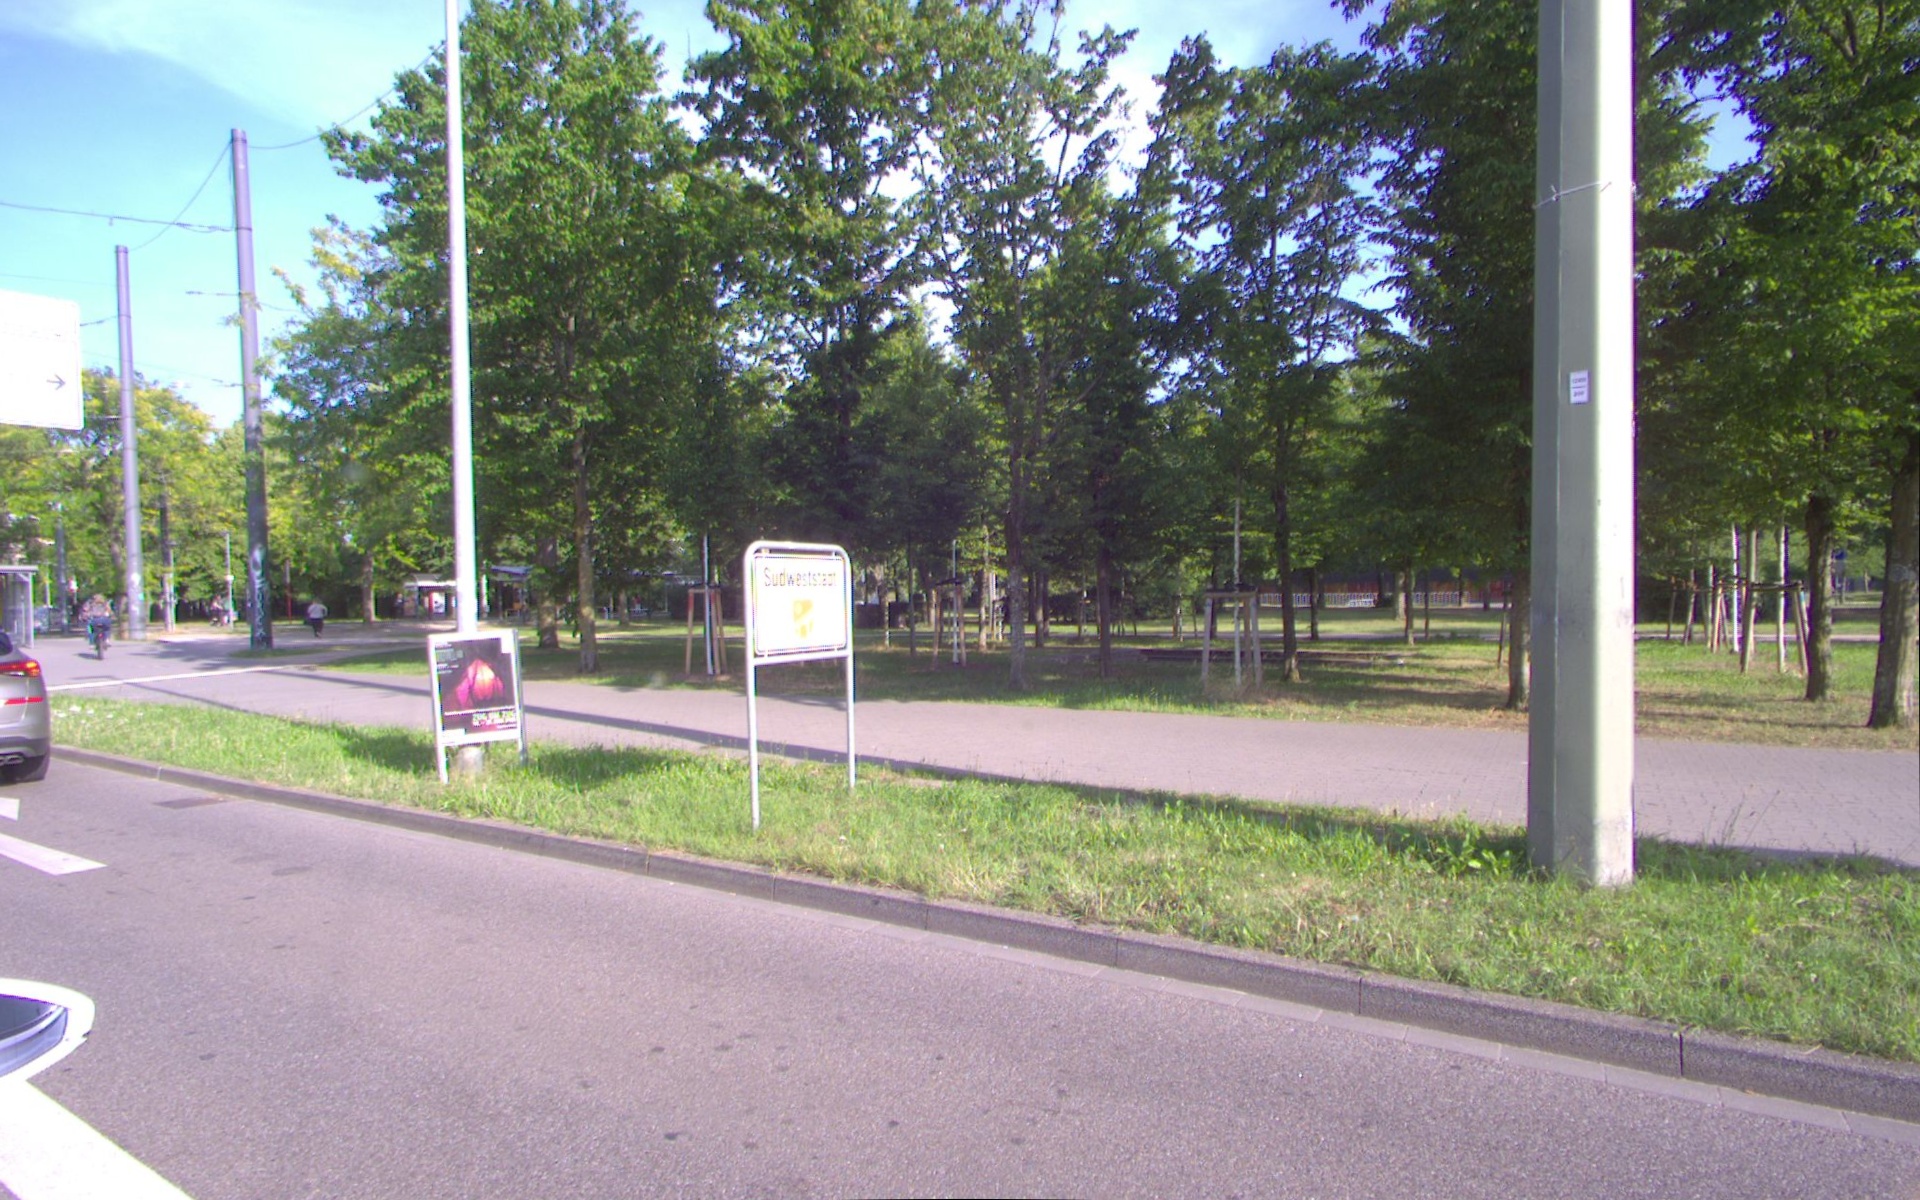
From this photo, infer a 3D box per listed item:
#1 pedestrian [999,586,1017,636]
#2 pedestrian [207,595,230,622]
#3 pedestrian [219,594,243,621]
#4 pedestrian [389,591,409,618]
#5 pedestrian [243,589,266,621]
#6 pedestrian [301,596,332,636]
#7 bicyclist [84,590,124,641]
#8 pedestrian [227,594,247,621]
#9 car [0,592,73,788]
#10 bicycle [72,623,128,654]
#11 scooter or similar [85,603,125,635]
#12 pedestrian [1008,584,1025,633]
[{"bbox_3d":[1.751,0.398,36.767,0.617,1.836,0.502,-1,1,6],"label":"pedestrian"},{"bbox_3d":[-41.035,0.463,55.424,0.687,1.508,0.815,-1,1,-9],"label":"pedestrian"},{"bbox_3d":[-41.099,0.419,56.451,0.688,1.508,0.813,0,1,22],"label":"pedestrian"},{"bbox_3d":[-35.529,0.279,63.395,0.792,1.659,0.832,0,1,38],"label":"pedestrian"},{"bbox_3d":[-40.256,0.296,57.137,0.826,1.809,0.798,0,1,28],"label":"pedestrian"},{"bbox_3d":[-26.687,0.663,41.527,0.793,1.659,0.754,-1,1,-7],"label":"pedestrian"},{"bbox_3d":[-22.221,0.398,25.984,0.856,1.279,0.533,0,1,32],"label":"bicyclist"},{"bbox_3d":[-39.995,0.409,55.406,0.804,1.508,0.696,-2,1,-33],"label":"pedestrian"},{"bbox_3d":[-9.997,0.799,9.158,3.595,1.673,1.880,-1,1,32],"label":"car"},{"bbox_3d":[-22.410,0.996,26.076,2.138,0.767,0.494,-1,2,33],"label":"bicycle"},{"bbox_3d":[-31.458,0.704,36.843,1.305,1.132,0.420,-1,1,13],"label":"scooter or similar"},{"bbox_3d":[2.111,0.324,37.574,0.617,1.836,0.502,-1,1,3],"label":"pedestrian"}]
